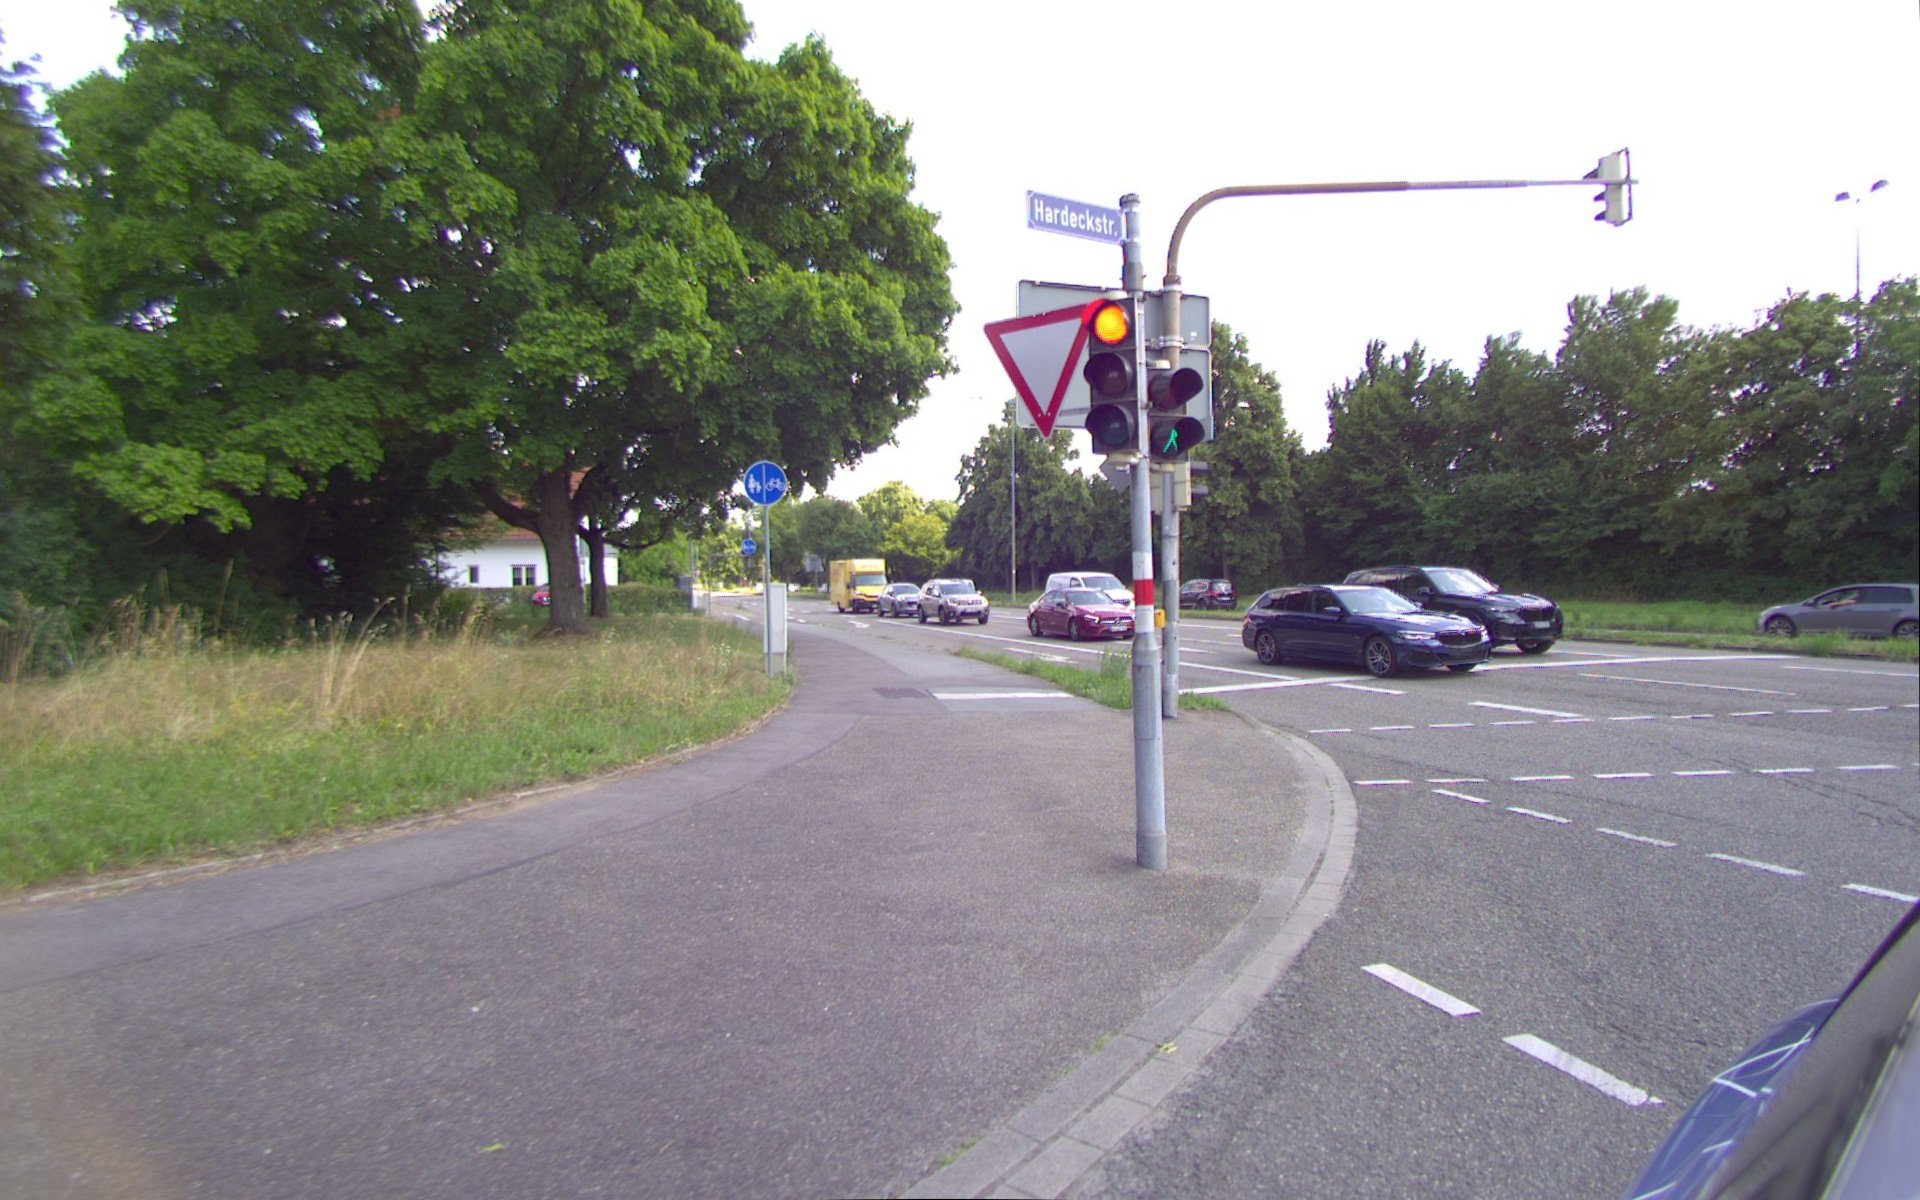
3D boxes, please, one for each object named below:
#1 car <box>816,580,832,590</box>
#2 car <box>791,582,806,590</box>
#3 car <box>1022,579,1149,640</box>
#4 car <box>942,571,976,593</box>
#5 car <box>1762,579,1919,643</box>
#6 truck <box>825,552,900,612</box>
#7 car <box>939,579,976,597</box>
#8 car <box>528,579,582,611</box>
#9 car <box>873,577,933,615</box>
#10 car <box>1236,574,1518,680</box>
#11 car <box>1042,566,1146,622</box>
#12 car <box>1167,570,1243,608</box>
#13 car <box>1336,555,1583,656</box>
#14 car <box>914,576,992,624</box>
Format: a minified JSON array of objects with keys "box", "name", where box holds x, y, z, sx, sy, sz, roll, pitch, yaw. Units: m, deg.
[{"box":[-19.309,-2.131,143.921,1.435,1.388,3.666,-1,1,-20],"name":"car"},{"box":[-27.000,-2.357,169.142,1.638,1.404,4.248,0,1,-19],"name":"car"},{"box":[3.405,0.206,28.382,1.693,1.480,4.545,-3,2,-19],"name":"car"},{"box":[-0.106,-1.565,87.910,1.641,1.816,4.264,-2,2,-19],"name":"car"},{"box":[21.148,0.222,23.216,1.566,1.390,4.090,-1,1,-21],"name":"car"},{"box":[-5.353,-0.965,54.483,2.316,2.895,6.981,-3,2,-19],"name":"truck"},{"box":[-0.192,-0.944,77.062,1.721,1.324,3.702,0,1,-18],"name":"car"},{"box":[-21.035,-0.280,52.691,1.648,1.550,4.400,-1,1,-8],"name":"car"},{"box":[-2.642,-0.218,46.378,1.693,1.549,3.903,-3,2,-19],"name":"car"},{"box":[7.032,0.340,17.762,1.765,1.515,4.884,-3,2,-19],"name":"car"},{"box":[4.679,-0.265,36.071,1.734,1.820,4.741,-2,2,-19],"name":"car"},{"box":[12.201,-0.588,50.675,1.641,1.763,4.320,-2,2,-19],"name":"car"},{"box":[9.923,0.026,20.578,1.781,1.767,4.560,-2,2,-19],"name":"car"},{"box":[-0.339,-0.055,38.428,1.692,1.631,4.185,-2,2,-19],"name":"car"}]
